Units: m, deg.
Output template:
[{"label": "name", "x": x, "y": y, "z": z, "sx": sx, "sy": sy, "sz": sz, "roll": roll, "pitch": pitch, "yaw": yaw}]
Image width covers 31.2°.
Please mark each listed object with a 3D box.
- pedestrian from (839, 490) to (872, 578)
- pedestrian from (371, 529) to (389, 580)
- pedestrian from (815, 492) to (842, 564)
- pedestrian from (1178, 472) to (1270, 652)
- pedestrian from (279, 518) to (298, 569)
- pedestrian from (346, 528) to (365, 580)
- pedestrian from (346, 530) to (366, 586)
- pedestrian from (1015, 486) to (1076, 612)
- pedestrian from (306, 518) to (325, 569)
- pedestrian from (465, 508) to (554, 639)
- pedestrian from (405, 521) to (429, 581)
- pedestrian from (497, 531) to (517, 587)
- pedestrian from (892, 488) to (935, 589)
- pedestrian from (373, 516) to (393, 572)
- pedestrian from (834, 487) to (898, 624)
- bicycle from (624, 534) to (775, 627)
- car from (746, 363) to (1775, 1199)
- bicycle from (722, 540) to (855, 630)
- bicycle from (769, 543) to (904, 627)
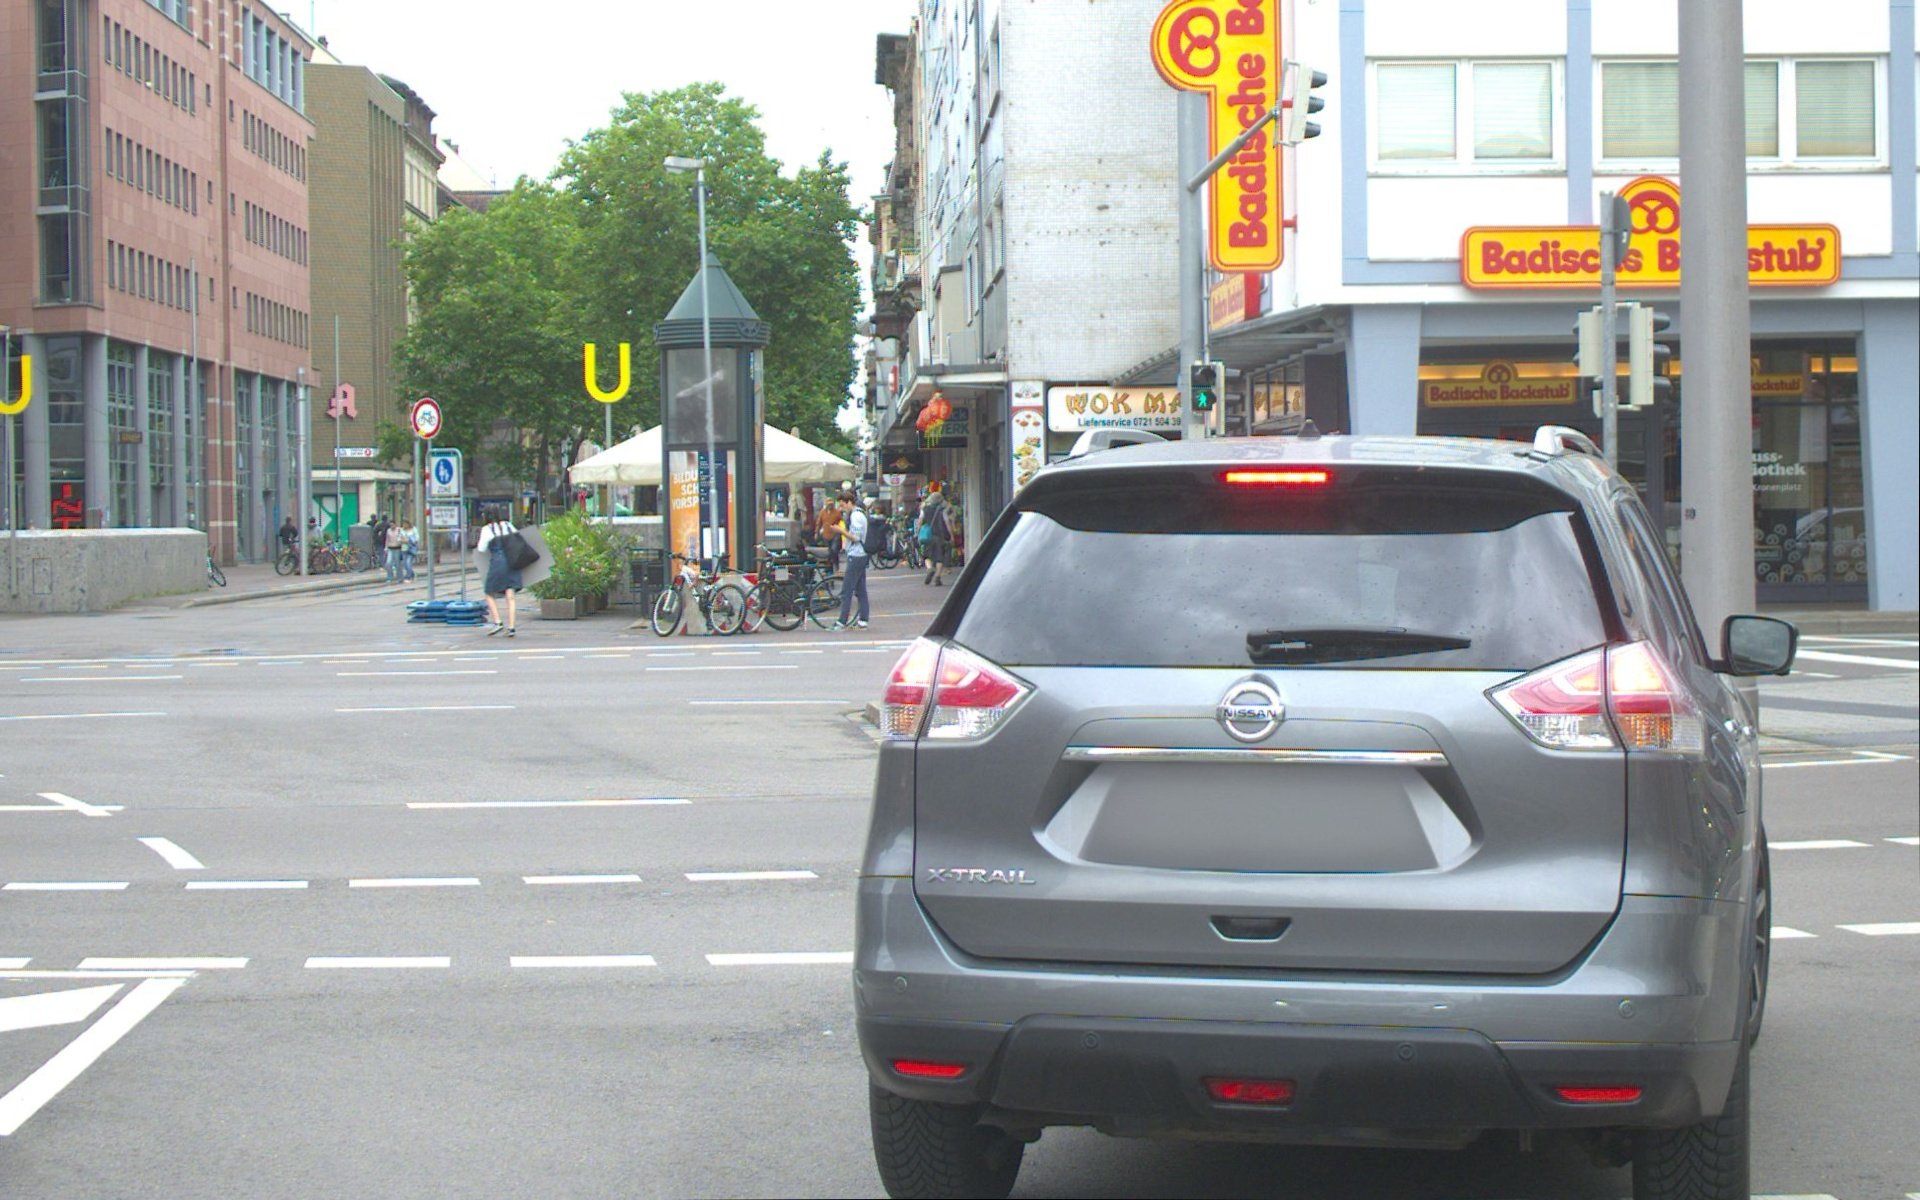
[{"label": "pedestrian", "x": -2.037, "y": -1.291, "z": 67.093, "sx": 0.643, "sy": 1.699, "sz": 0.559, "roll": 0, "pitch": 1, "yaw": -1}, {"label": "pedestrian", "x": -19.424, "y": -1.533, "z": 115.191, "sx": 0.600, "sy": 1.708, "sz": 0.656, "roll": 0, "pitch": 1, "yaw": -9}, {"label": "pedestrian", "x": -3.125, "y": -1.717, "z": 81.824, "sx": 0.611, "sy": 1.699, "sz": 0.620, "roll": 0, "pitch": 1, "yaw": -1}, {"label": "pedestrian", "x": 2.704, "y": -0.395, "z": 35.328, "sx": 0.712, "sy": 1.826, "sz": 1.017, "roll": 0, "pitch": 1, "yaw": -9}, {"label": "pedestrian", "x": -22.468, "y": -1.894, "z": 115.071, "sx": 0.600, "sy": 1.708, "sz": 0.656, "roll": 0, "pitch": 1, "yaw": -9}, {"label": "pedestrian", "x": -19.909, "y": -1.516, "z": 113.204, "sx": 0.600, "sy": 1.708, "sz": 0.656, "roll": 0, "pitch": 1, "yaw": -9}, {"label": "pedestrian", "x": -18.455, "y": -1.281, "z": 105.034, "sx": 0.600, "sy": 1.708, "sz": 0.656, "roll": 0, "pitch": 1, "yaw": -9}, {"label": "pedestrian", "x": 1.164, "y": -0.704, "z": 46.829, "sx": 0.710, "sy": 1.699, "sz": 0.734, "roll": 0, "pitch": 1, "yaw": 11}, {"label": "pedestrian", "x": -21.532, "y": -1.886, "z": 114.921, "sx": 0.600, "sy": 1.708, "sz": 0.656, "roll": 0, "pitch": 1, "yaw": -9}, {"label": "pedestrian", "x": -5.881, "y": -0.355, "z": 44.931, "sx": 0.926, "sy": 1.699, "sz": 0.734, "roll": 1, "pitch": 1, "yaw": 18}, {"label": "pedestrian", "x": -13.868, "y": -1.259, "z": 87.764, "sx": 0.600, "sy": 1.531, "sz": 0.656, "roll": 0, "pitch": 1, "yaw": -9}, {"label": "pedestrian", "x": -13.829, "y": -1.256, "z": 104.935, "sx": 0.600, "sy": 1.708, "sz": 0.656, "roll": 0, "pitch": 1, "yaw": -9}, {"label": "pedestrian", "x": -0.852, "y": -1.127, "z": 62.848, "sx": 0.737, "sy": 1.815, "sz": 0.662, "roll": -1, "pitch": 1, "yaw": -4}, {"label": "pedestrian", "x": -17.593, "y": -1.717, "z": 104.854, "sx": 0.600, "sy": 1.708, "sz": 0.656, "roll": 0, "pitch": 1, "yaw": -9}, {"label": "pedestrian", "x": -1.207, "y": -0.573, "z": 44.035, "sx": 0.732, "sy": 1.739, "sz": 0.663, "roll": 0, "pitch": 1, "yaw": -10}, {"label": "bicycle", "x": -3.345, "y": -0.255, "z": 44.158, "sx": 1.866, "sy": 1.167, "sz": 0.531, "roll": 0, "pitch": 1, "yaw": -16}, {"label": "car", "x": 1.042, "y": 0.418, "z": 8.478, "sx": 1.864, "sy": 1.768, "sz": 4.564, "roll": 0, "pitch": 1, "yaw": 14}, {"label": "bicycle", "x": -2.249, "y": -0.201, "z": 44.983, "sx": 1.695, "sy": 1.167, "sz": 0.437, "roll": 0, "pitch": 1, "yaw": -8}, {"label": "bicycle", "x": -1.595, "y": -0.198, "z": 44.432, "sx": 1.696, "sy": 1.062, "sz": 0.437, "roll": 0, "pitch": 1, "yaw": 5}]
